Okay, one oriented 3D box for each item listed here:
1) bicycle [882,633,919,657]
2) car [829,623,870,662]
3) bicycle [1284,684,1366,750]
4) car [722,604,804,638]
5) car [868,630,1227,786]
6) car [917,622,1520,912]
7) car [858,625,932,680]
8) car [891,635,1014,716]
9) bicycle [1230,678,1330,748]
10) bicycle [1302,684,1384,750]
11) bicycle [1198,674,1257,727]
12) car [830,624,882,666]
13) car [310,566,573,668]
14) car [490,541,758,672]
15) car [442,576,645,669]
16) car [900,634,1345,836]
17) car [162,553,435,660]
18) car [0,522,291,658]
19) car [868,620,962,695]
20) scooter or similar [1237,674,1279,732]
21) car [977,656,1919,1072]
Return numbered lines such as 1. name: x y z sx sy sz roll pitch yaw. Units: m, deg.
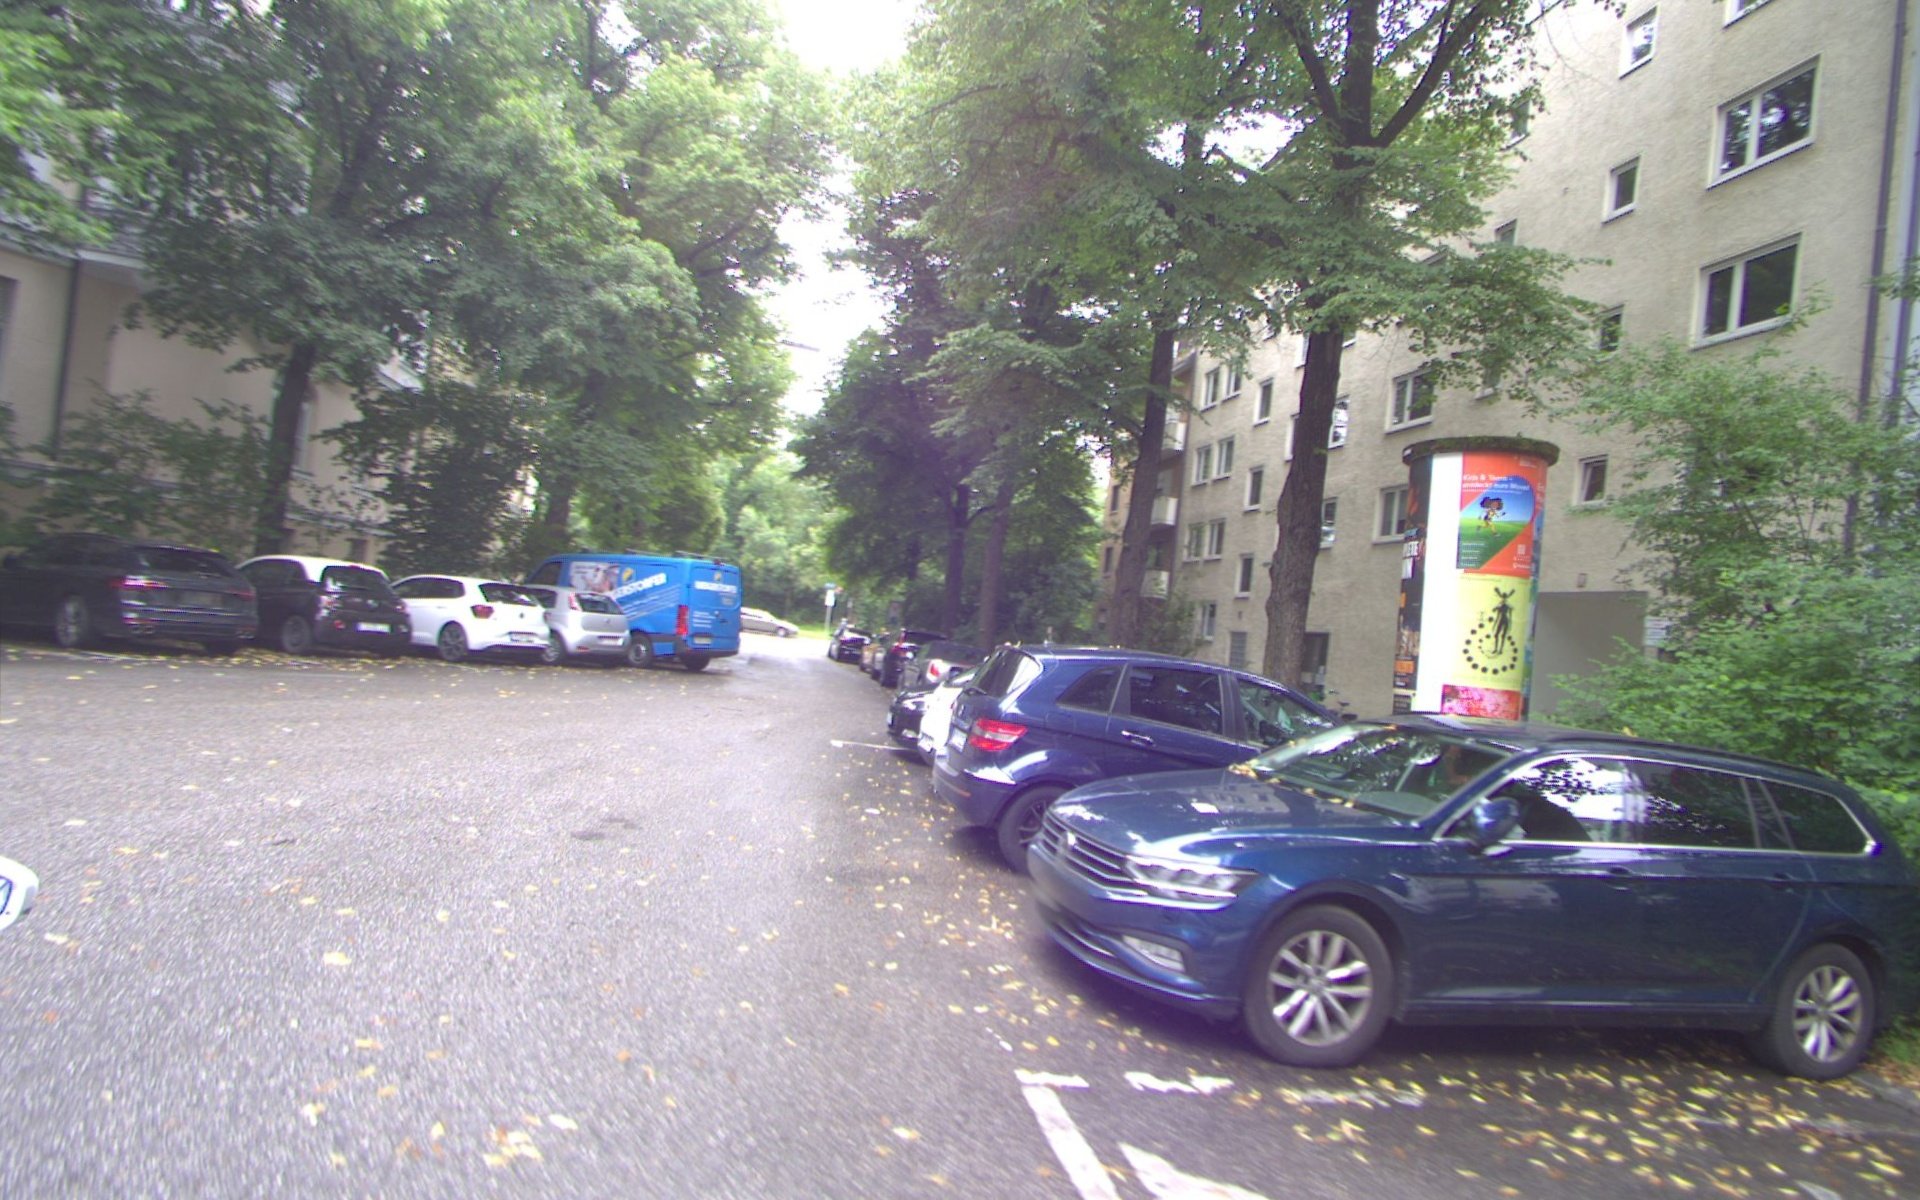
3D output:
1. bicycle: -2.977 2.224 50.170 1.725 0.993 0.273 6 -1 -2
2. car: -5.158 1.930 46.537 1.625 1.491 3.640 7 -2 -8
3. bicycle: 7.568 2.407 20.919 0.439 1.137 1.763 7 -1 -21
4. car: -12.300 1.295 63.065 4.733 1.513 1.841 7 -1 -6
5. car: 1.070 1.340 12.615 4.037 1.410 1.728 8 -2 -19
6. car: 1.804 1.190 7.601 3.918 1.574 1.754 7 -1 -11
7. car: -2.181 1.678 32.768 1.598 1.429 3.771 7 -2 -14
8. car: -0.294 1.630 22.908 1.873 1.429 4.423 6 -2 -11
9. bicycle: 6.202 2.199 19.467 1.853 1.137 0.537 8 -1 -23
10. bicycle: 8.031 2.442 21.173 0.439 1.137 1.763 7 -1 -21
11. bicycle: 6.323 2.378 23.730 0.440 1.137 1.763 6 -2 43
12. car: -4.420 1.858 42.351 1.660 1.373 4.002 8 -2 -11
13. car: -9.172 0.302 17.796 4.209 1.531 1.803 2 -3 23
14. car: -7.303 0.131 21.811 5.398 2.381 2.065 4 -3 25
15. car: -8.111 0.439 19.596 3.491 1.449 1.644 4 -2 25
16. car: 1.544 1.312 10.071 3.886 1.464 1.822 7 -2 -15
17. car: -10.346 0.102 15.755 3.684 1.442 1.833 2 -3 25
18. car: -10.988 -0.146 13.156 4.091 1.442 1.862 3 -2 27
19. car: -1.340 1.519 27.819 1.807 1.648 4.519 7 -2 -10
20. scooter or similar: 7.303 2.516 24.699 0.378 1.267 1.135 7 -1 -11
21. car: 2.644 1.290 5.186 4.660 1.393 1.955 7 -2 -15
